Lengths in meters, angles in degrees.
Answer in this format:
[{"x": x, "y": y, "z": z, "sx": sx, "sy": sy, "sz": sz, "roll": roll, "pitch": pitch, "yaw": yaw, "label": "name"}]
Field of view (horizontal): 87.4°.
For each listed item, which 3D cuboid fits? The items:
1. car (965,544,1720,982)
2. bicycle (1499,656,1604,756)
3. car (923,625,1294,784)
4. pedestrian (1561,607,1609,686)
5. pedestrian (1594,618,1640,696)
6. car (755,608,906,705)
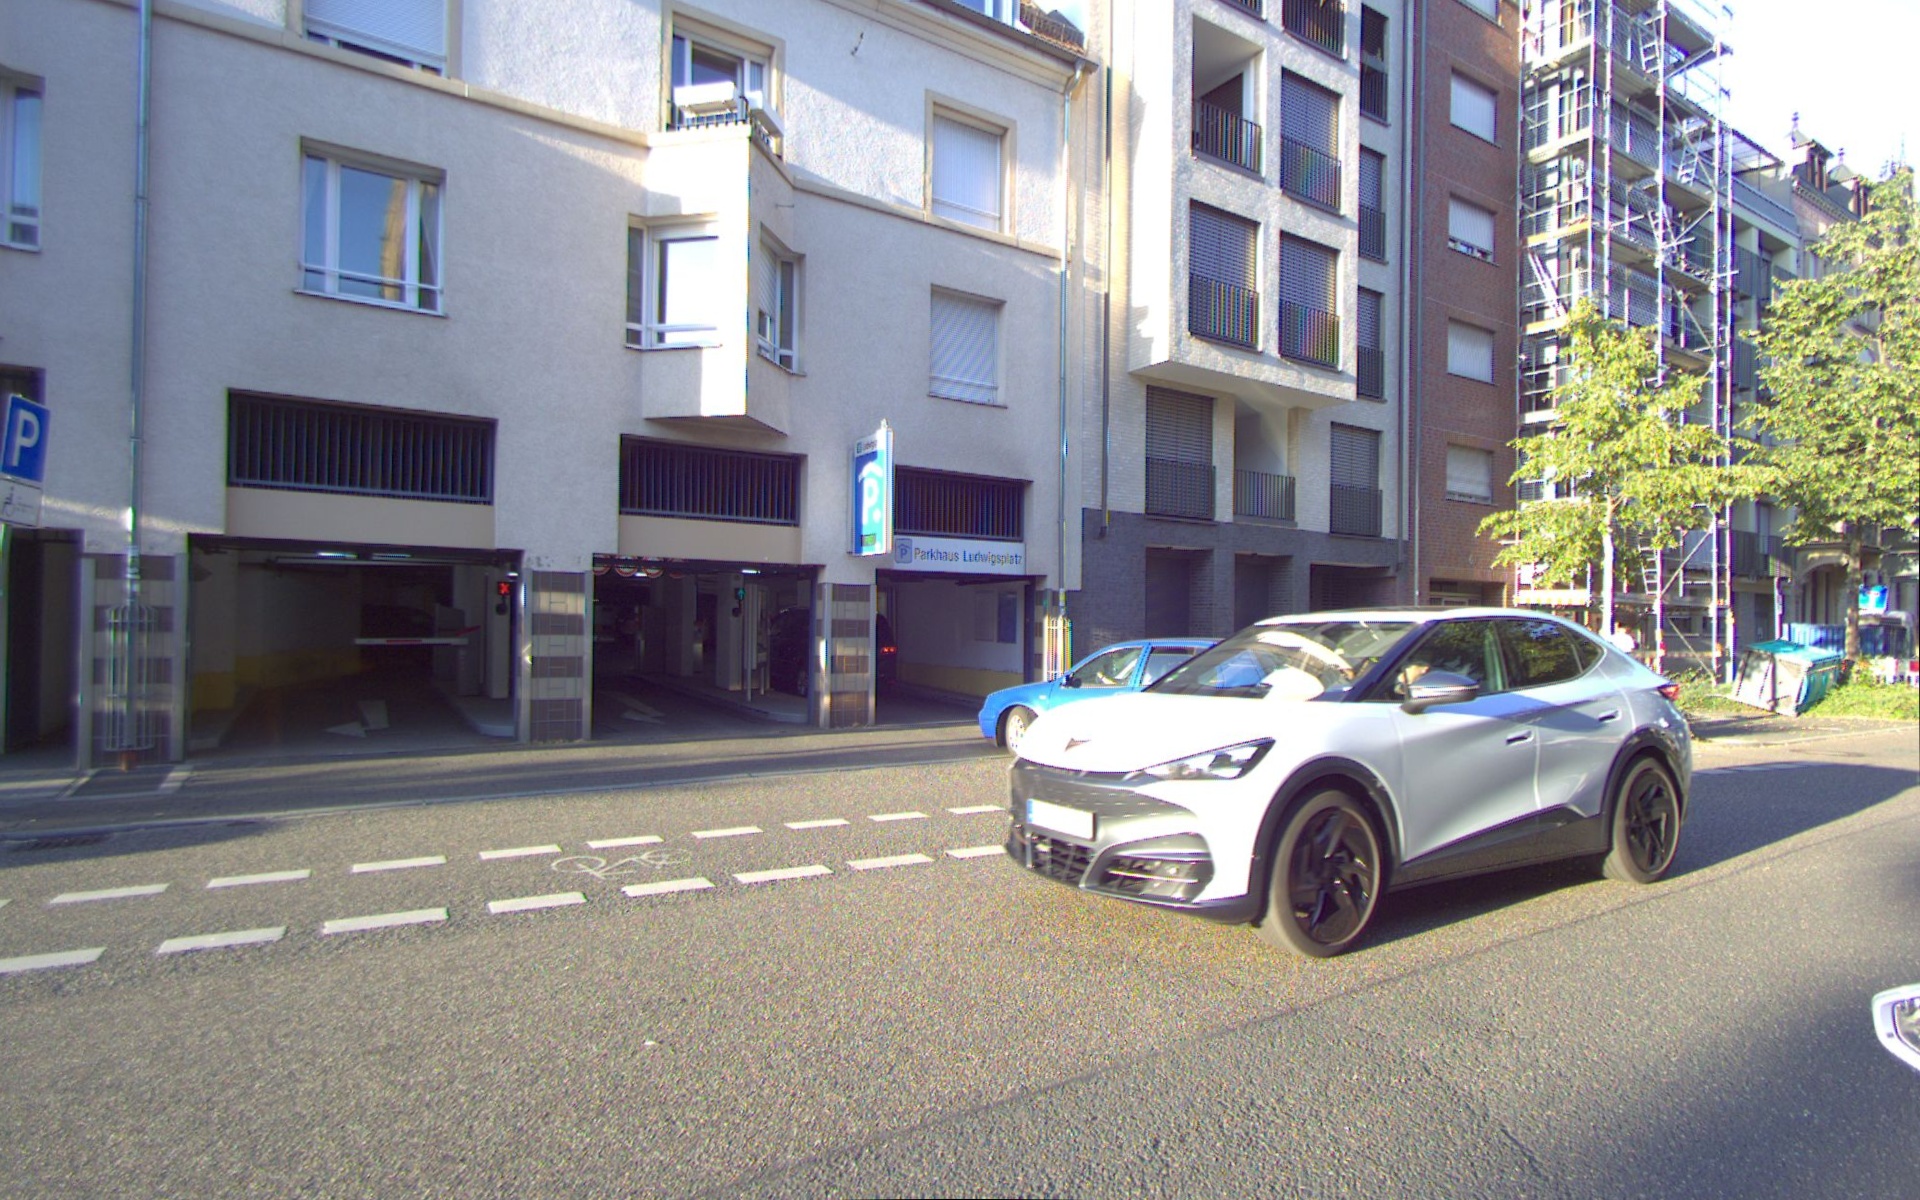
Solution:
[{"x": 2.326, "y": 0.737, "z": 5.870, "sx": 4.271, "sy": 1.719, "sz": 1.864, "roll": 2, "pitch": -3, "yaw": -30, "label": "car"}, {"x": 7.584, "y": 1.330, "z": 12.860, "sx": 1.535, "sy": 1.194, "sz": 0.504, "roll": 2, "pitch": -1, "yaw": -32, "label": "bicycle"}, {"x": 1.671, "y": 1.110, "z": 11.924, "sx": 4.052, "sy": 1.583, "sz": 1.688, "roll": -1, "pitch": -3, "yaw": 36, "label": "car"}, {"x": 14.546, "y": 1.077, "z": 23.392, "sx": 0.649, "sy": 1.807, "sz": 0.737, "roll": 1, "pitch": -2, "yaw": -32, "label": "pedestrian"}, {"x": 15.597, "y": 1.349, "z": 23.853, "sx": 0.649, "sy": 1.807, "sz": 0.737, "roll": 2, "pitch": -2, "yaw": -33, "label": "pedestrian"}, {"x": -2.598, "y": 1.008, "z": 19.436, "sx": 1.542, "sy": 1.639, "sz": 3.850, "roll": 1, "pitch": -1, "yaw": -30, "label": "car"}]
